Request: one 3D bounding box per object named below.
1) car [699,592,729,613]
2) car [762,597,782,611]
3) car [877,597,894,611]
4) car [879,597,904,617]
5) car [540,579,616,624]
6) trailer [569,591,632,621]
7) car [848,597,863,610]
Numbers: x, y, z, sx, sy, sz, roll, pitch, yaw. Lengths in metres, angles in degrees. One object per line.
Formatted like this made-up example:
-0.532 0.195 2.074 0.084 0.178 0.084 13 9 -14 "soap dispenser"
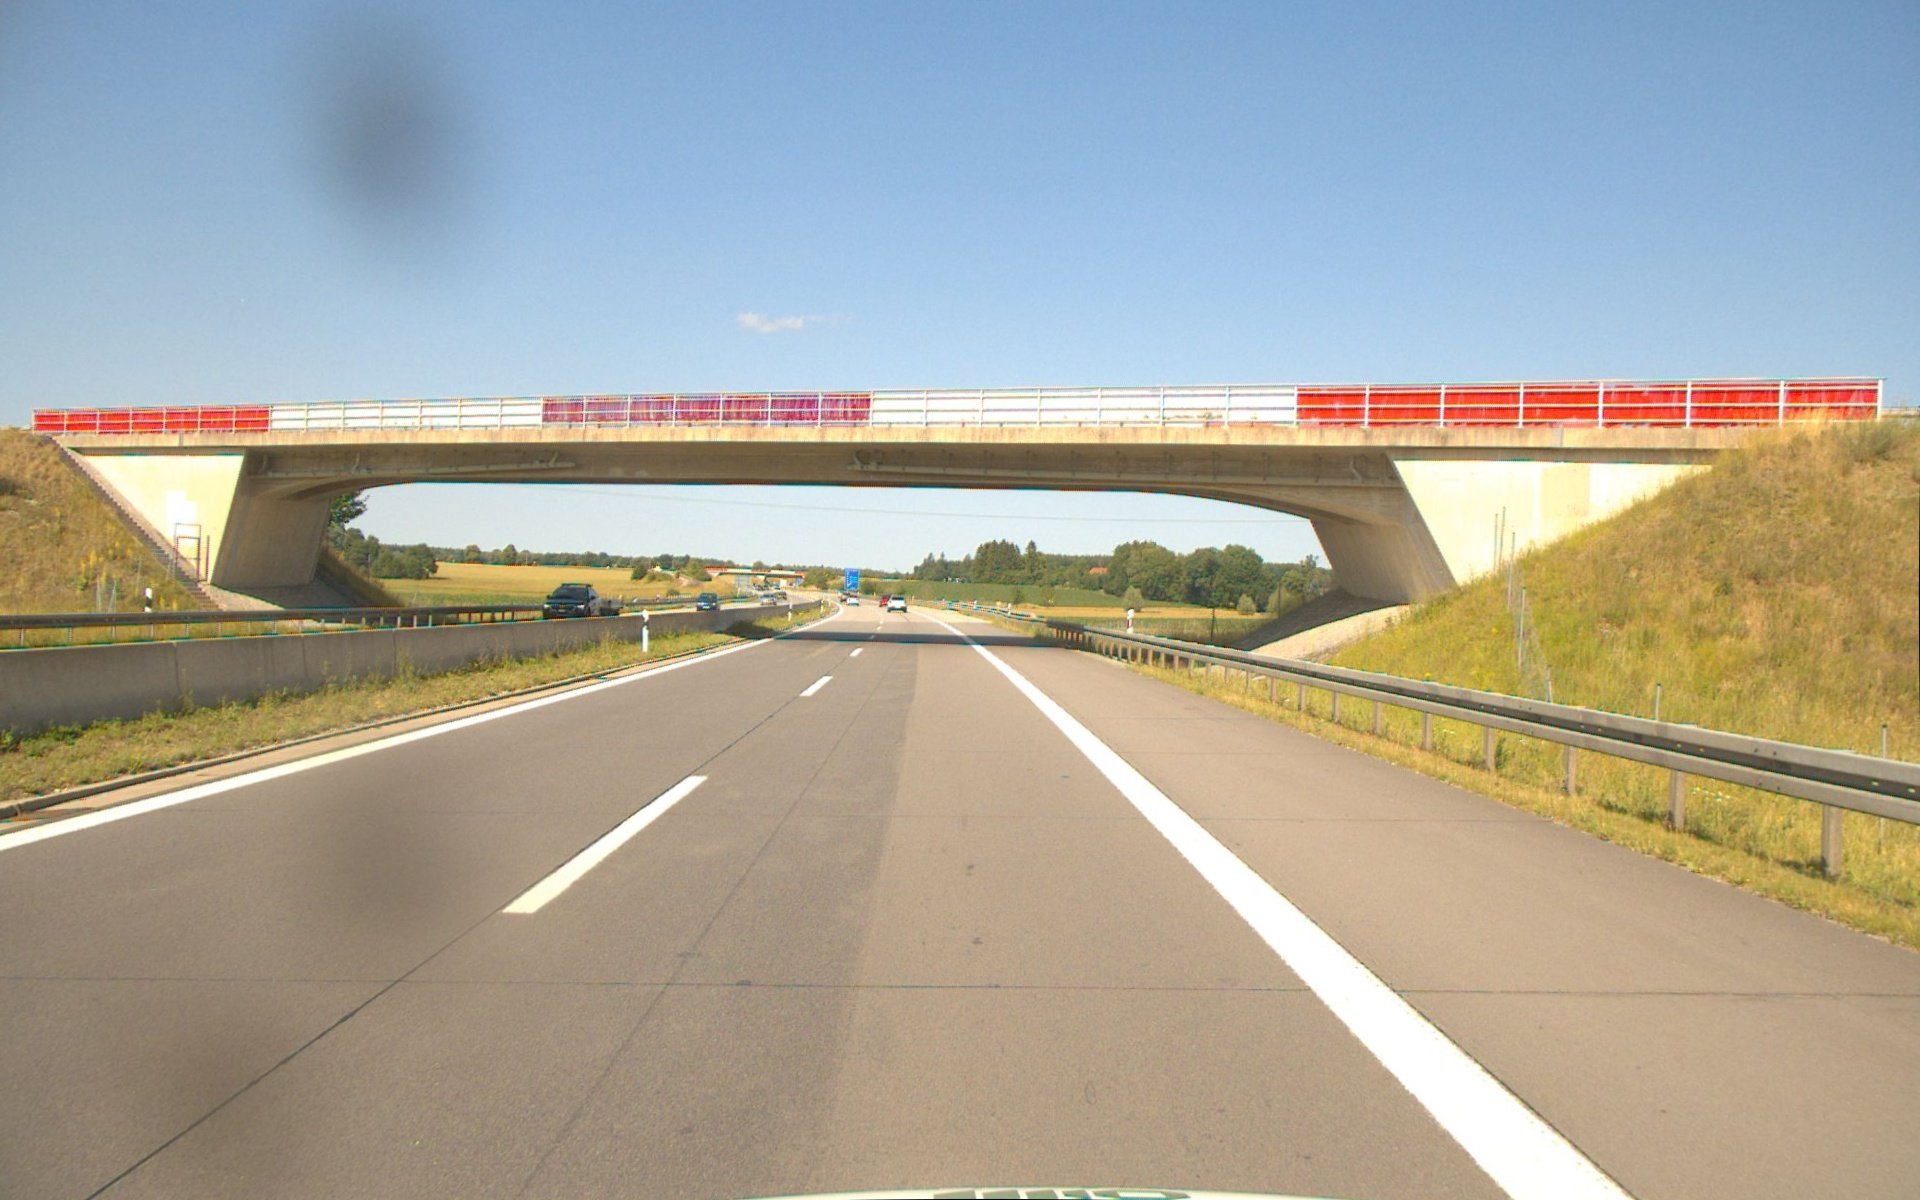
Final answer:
-18.862 0.184 126.740 1.817 1.486 4.193 1 0 -3 "car"
-22.127 0.466 195.057 1.954 1.606 4.893 2 0 -3 "car"
-9.490 0.506 210.535 1.954 1.761 4.866 2 0 -4 "car"
-6.621 0.659 159.136 1.956 1.761 4.861 2 0 -8 "car"
-15.890 0.054 69.055 1.953 1.761 5.585 2 0 -2 "car"
-16.051 0.251 74.009 1.953 1.280 4.261 2 0 -2 "trailer"
-14.342 0.471 226.641 1.954 1.761 4.866 2 0 -3 "car"
